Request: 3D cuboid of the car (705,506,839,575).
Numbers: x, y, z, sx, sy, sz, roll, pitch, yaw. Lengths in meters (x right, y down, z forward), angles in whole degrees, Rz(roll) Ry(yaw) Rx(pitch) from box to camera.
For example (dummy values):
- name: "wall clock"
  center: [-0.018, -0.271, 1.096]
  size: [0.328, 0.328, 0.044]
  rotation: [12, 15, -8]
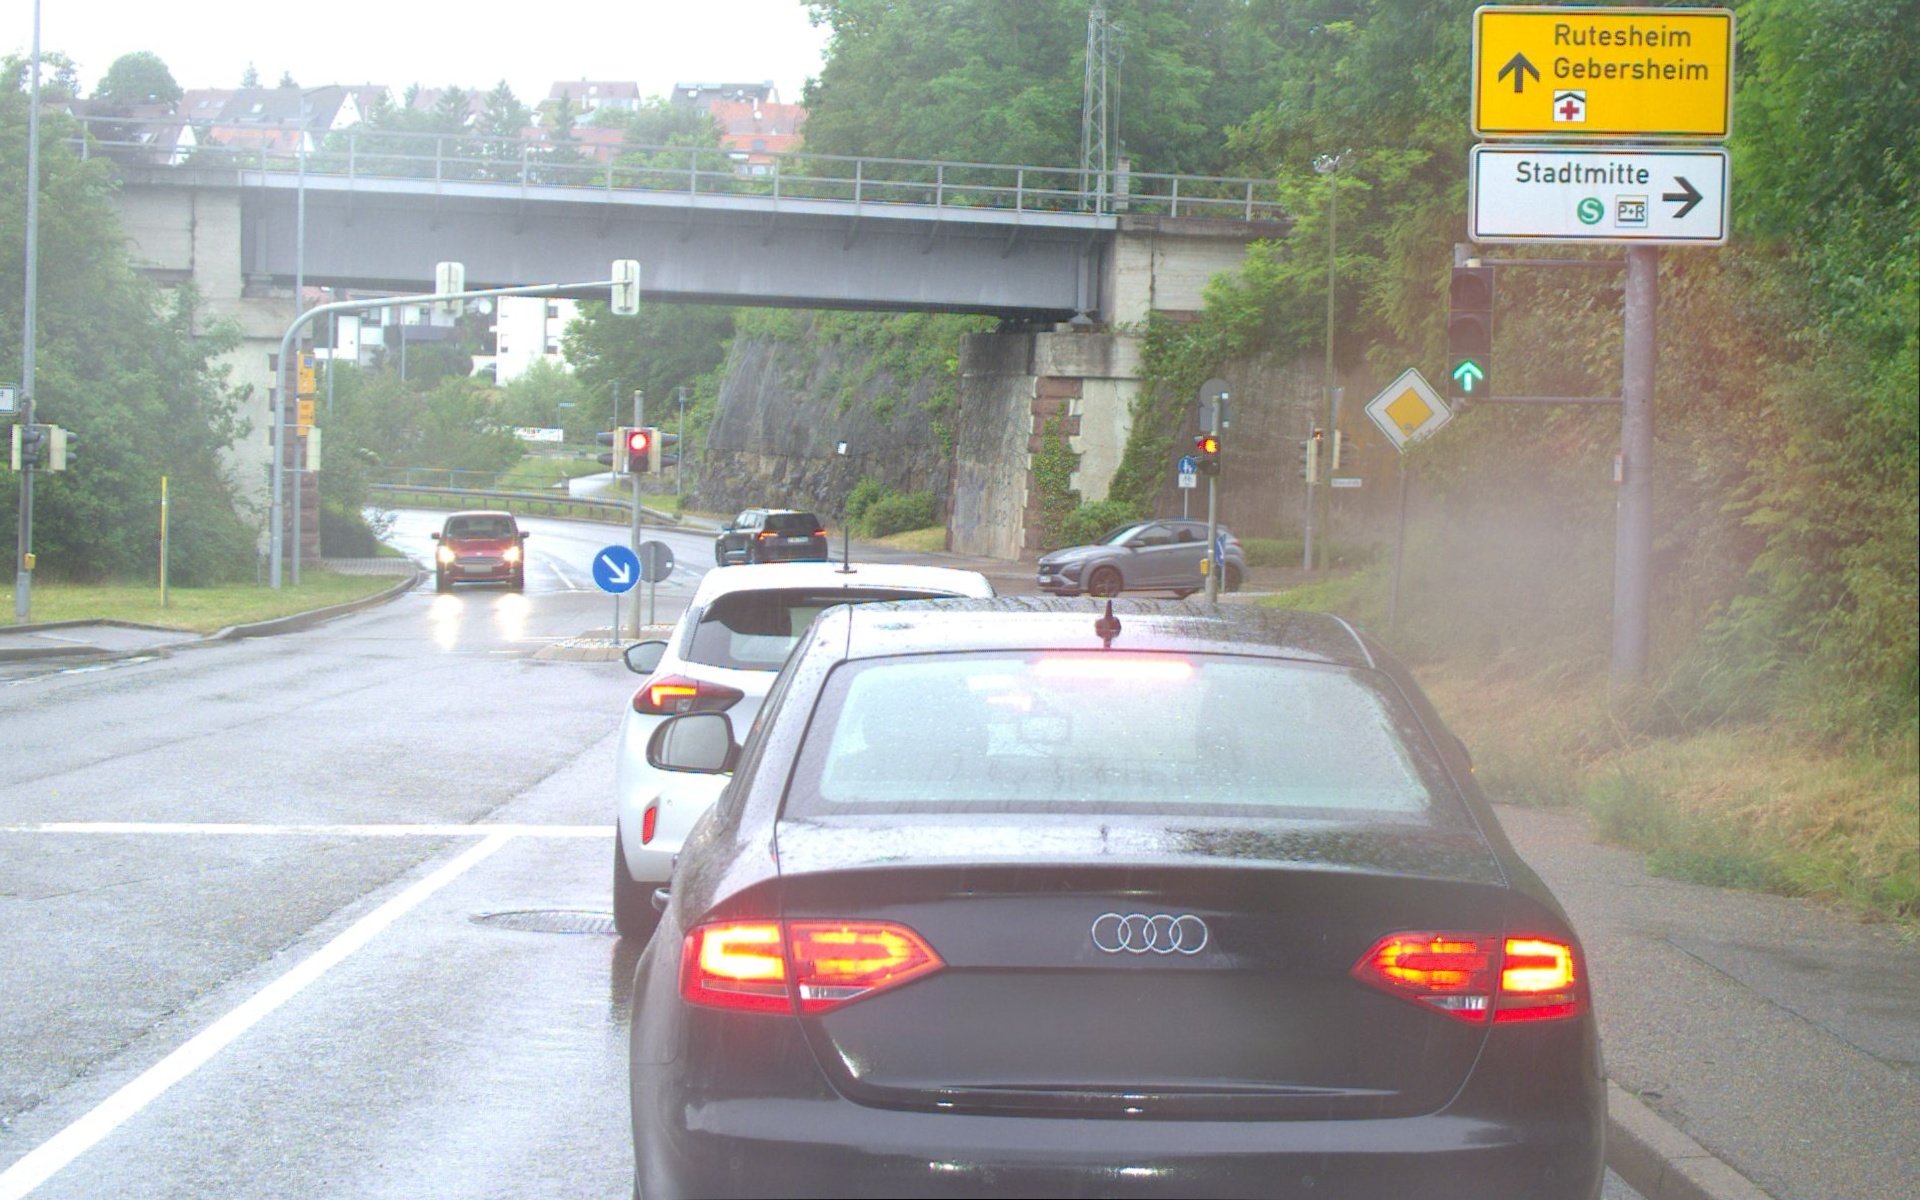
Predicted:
- name: "car"
  center: [-4.520, -1.431, 82.221]
  size: [1.993, 1.590, 4.001]
  rotation: [-1, 1, -22]

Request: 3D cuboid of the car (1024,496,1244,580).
- name: "car"
  center: [3.367, -1.211, 66.867]
  size: [3.986, 1.465, 1.645]
  rotation: [2, 1, -7]

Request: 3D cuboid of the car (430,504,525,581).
- name: "car"
  center: [-10.485, -1.258, 74.904]
  size: [1.993, 1.622, 4.001]
  rotation: [0, 1, -7]

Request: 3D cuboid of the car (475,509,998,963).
- name: "car"
  center: [-0.813, 0.482, 14.084]
  size: [1.823, 1.579, 4.000]
  rotation: [1, 0, -1]

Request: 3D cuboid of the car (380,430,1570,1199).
- name: "car"
  center: [-0.003, 0.549, 7.431]
  size: [1.870, 1.611, 4.000]
  rotation: [1, 0, -1]
